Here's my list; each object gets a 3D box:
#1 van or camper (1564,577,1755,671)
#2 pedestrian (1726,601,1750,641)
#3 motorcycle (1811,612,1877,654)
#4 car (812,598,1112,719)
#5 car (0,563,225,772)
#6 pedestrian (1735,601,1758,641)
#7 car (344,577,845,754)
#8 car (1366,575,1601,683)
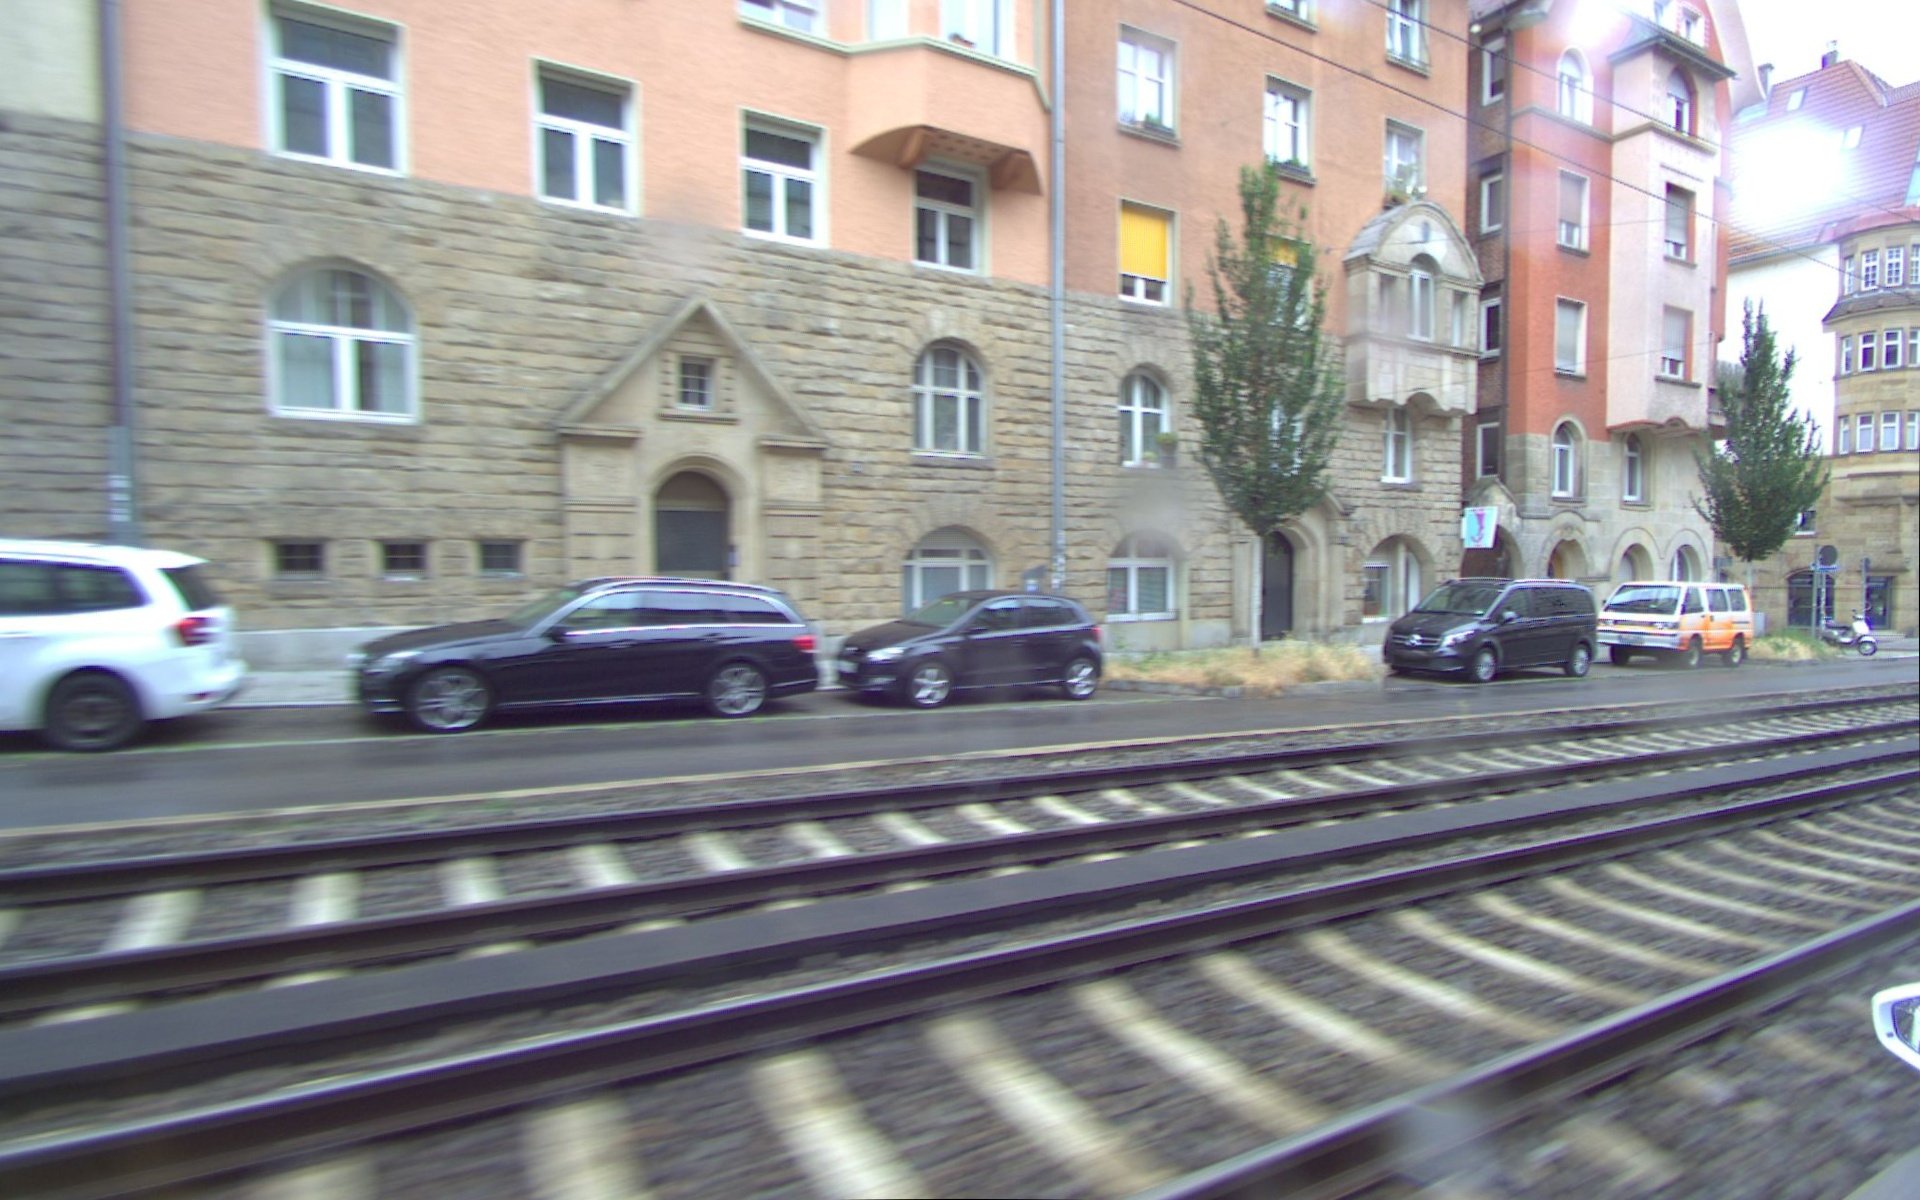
[{"bbox_3d":[16.532,0.517,23.692,4.647,1.927,1.982,1,3,-33],"label":"van or camper"},{"bbox_3d":[34.315,0.919,44.307,0.635,1.756,0.604,0,1,-29],"label":"pedestrian"},{"bbox_3d":[25.735,0.955,29.254,0.608,1.149,1.441,1,1,-1],"label":"motorcycle"},{"bbox_3d":[0.085,0.703,13.685,3.842,1.417,1.632,0,1,-34],"label":"car"},{"bbox_3d":[-8.520,0.502,7.988,4.311,1.611,1.771,0,1,-37],"label":"car"},{"bbox_3d":[35.014,0.933,44.723,0.635,1.756,0.604,0,1,-29],"label":"pedestrian"},{"bbox_3d":[-3.936,0.574,11.125,4.920,1.530,1.982,0,3,-33],"label":"car"},{"bbox_3d":[10.367,0.543,19.812,4.644,1.927,1.984,0,-1,-31],"label":"car"}]
